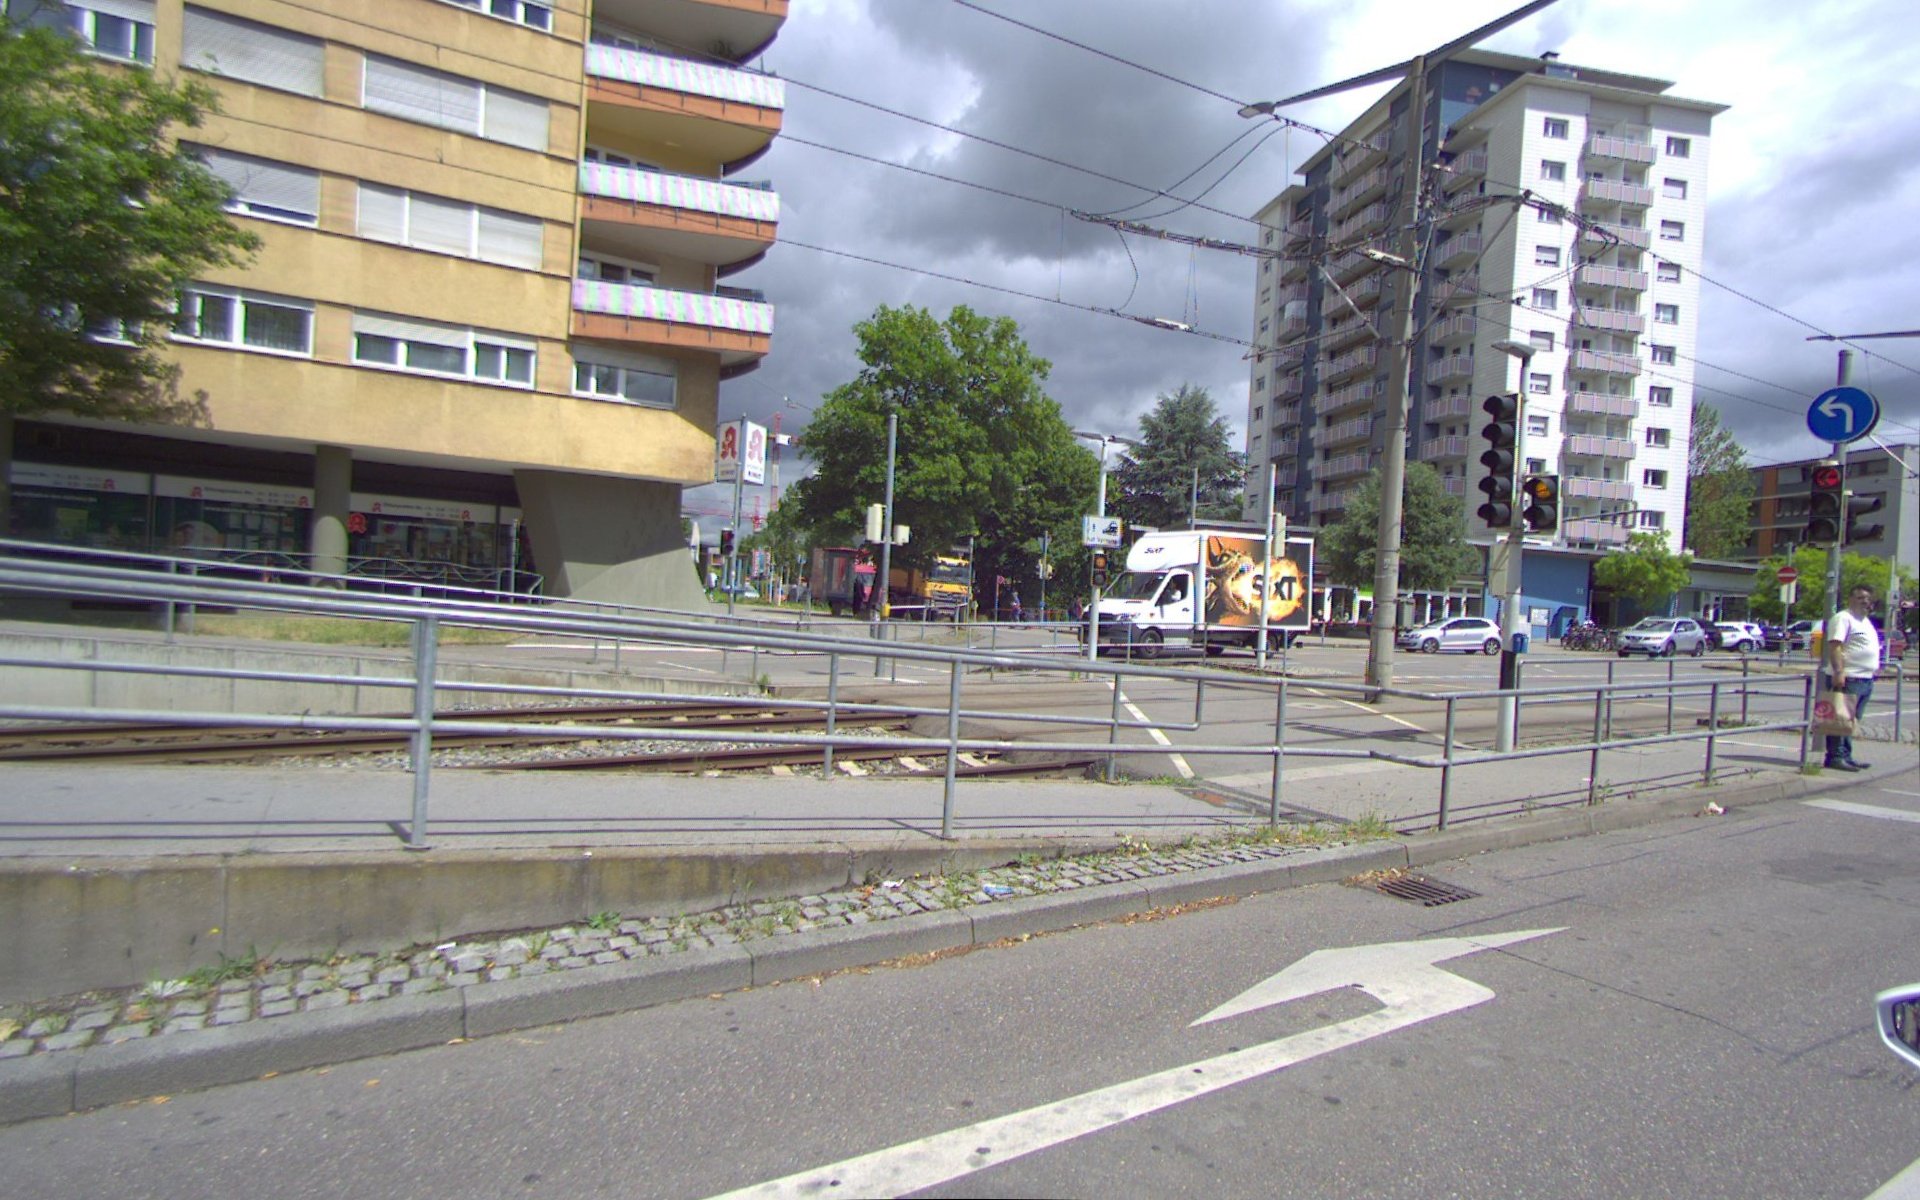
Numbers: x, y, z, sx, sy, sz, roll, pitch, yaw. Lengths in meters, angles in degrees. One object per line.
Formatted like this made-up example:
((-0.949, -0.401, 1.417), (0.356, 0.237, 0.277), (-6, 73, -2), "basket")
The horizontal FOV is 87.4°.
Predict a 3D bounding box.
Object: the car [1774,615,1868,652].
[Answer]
((50.848, 1.956, 59.396), (3.846, 2.001, 1.657), (1, 0, 19), "car")

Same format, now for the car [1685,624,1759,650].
((42.951, 2.069, 56.671), (3.048, 1.298, 1.468), (2, 0, 26), "car")

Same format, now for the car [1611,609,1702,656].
((28.071, 1.291, 40.479), (3.731, 1.780, 1.583), (1, 1, -31), "car")

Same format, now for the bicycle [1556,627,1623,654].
((28.811, 1.843, 46.004), (2.521, 1.022, 0.754), (3, 0, 34), "bicycle")

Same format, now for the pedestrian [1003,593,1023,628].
((2.285, 0.435, 43.343), (0.657, 1.487, 0.554), (1, 1, -35), "pedestrian")

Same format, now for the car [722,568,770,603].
((-13.032, -0.839, 61.067), (1.974, 2.040, 3.973), (1, 0, -26), "car")

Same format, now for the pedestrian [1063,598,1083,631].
((4.859, 0.619, 43.267), (0.669, 1.394, 0.473), (1, 1, -30), "pedestrian")

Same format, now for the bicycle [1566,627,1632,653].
((29.681, 1.855, 46.684), (2.521, 1.022, 0.754), (3, 0, 34), "bicycle")

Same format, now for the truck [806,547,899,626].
((-5.481, -0.673, 50.251), (2.191, 3.688, 7.125), (1, 1, -27), "truck")

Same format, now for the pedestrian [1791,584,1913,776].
((8.589, 0.740, 9.682), (0.679, 1.757, 0.684), (1, 0, -29), "pedestrian")

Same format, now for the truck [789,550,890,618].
((-4.535, -0.597, 37.248), (2.322, 2.321, 4.261), (1, 1, -28), "truck")

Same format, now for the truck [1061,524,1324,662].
((6.161, -0.113, 26.033), (7.241, 3.160, 2.267), (1, 1, -34), "truck")

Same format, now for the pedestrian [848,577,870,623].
((-4.048, 0.004, 40.212), (0.653, 1.799, 0.655), (1, 1, -22), "pedestrian")

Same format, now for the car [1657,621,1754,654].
((40.560, 2.020, 54.727), (3.845, 1.669, 1.657), (1, 0, 16), "car")

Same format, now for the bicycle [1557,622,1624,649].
((28.434, 1.599, 45.316), (2.521, 1.022, 0.754), (3, 0, 34), "bicycle")

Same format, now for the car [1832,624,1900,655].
((48.149, 2.094, 53.374), (3.827, 1.554, 1.643), (1, 0, -31), "car")

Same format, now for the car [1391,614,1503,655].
((18.964, 1.335, 39.166), (3.704, 1.480, 1.410), (1, 1, -6), "car")

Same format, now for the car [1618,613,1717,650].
((36.076, 1.596, 51.332), (3.927, 1.709, 1.574), (1, 0, 29), "car")
